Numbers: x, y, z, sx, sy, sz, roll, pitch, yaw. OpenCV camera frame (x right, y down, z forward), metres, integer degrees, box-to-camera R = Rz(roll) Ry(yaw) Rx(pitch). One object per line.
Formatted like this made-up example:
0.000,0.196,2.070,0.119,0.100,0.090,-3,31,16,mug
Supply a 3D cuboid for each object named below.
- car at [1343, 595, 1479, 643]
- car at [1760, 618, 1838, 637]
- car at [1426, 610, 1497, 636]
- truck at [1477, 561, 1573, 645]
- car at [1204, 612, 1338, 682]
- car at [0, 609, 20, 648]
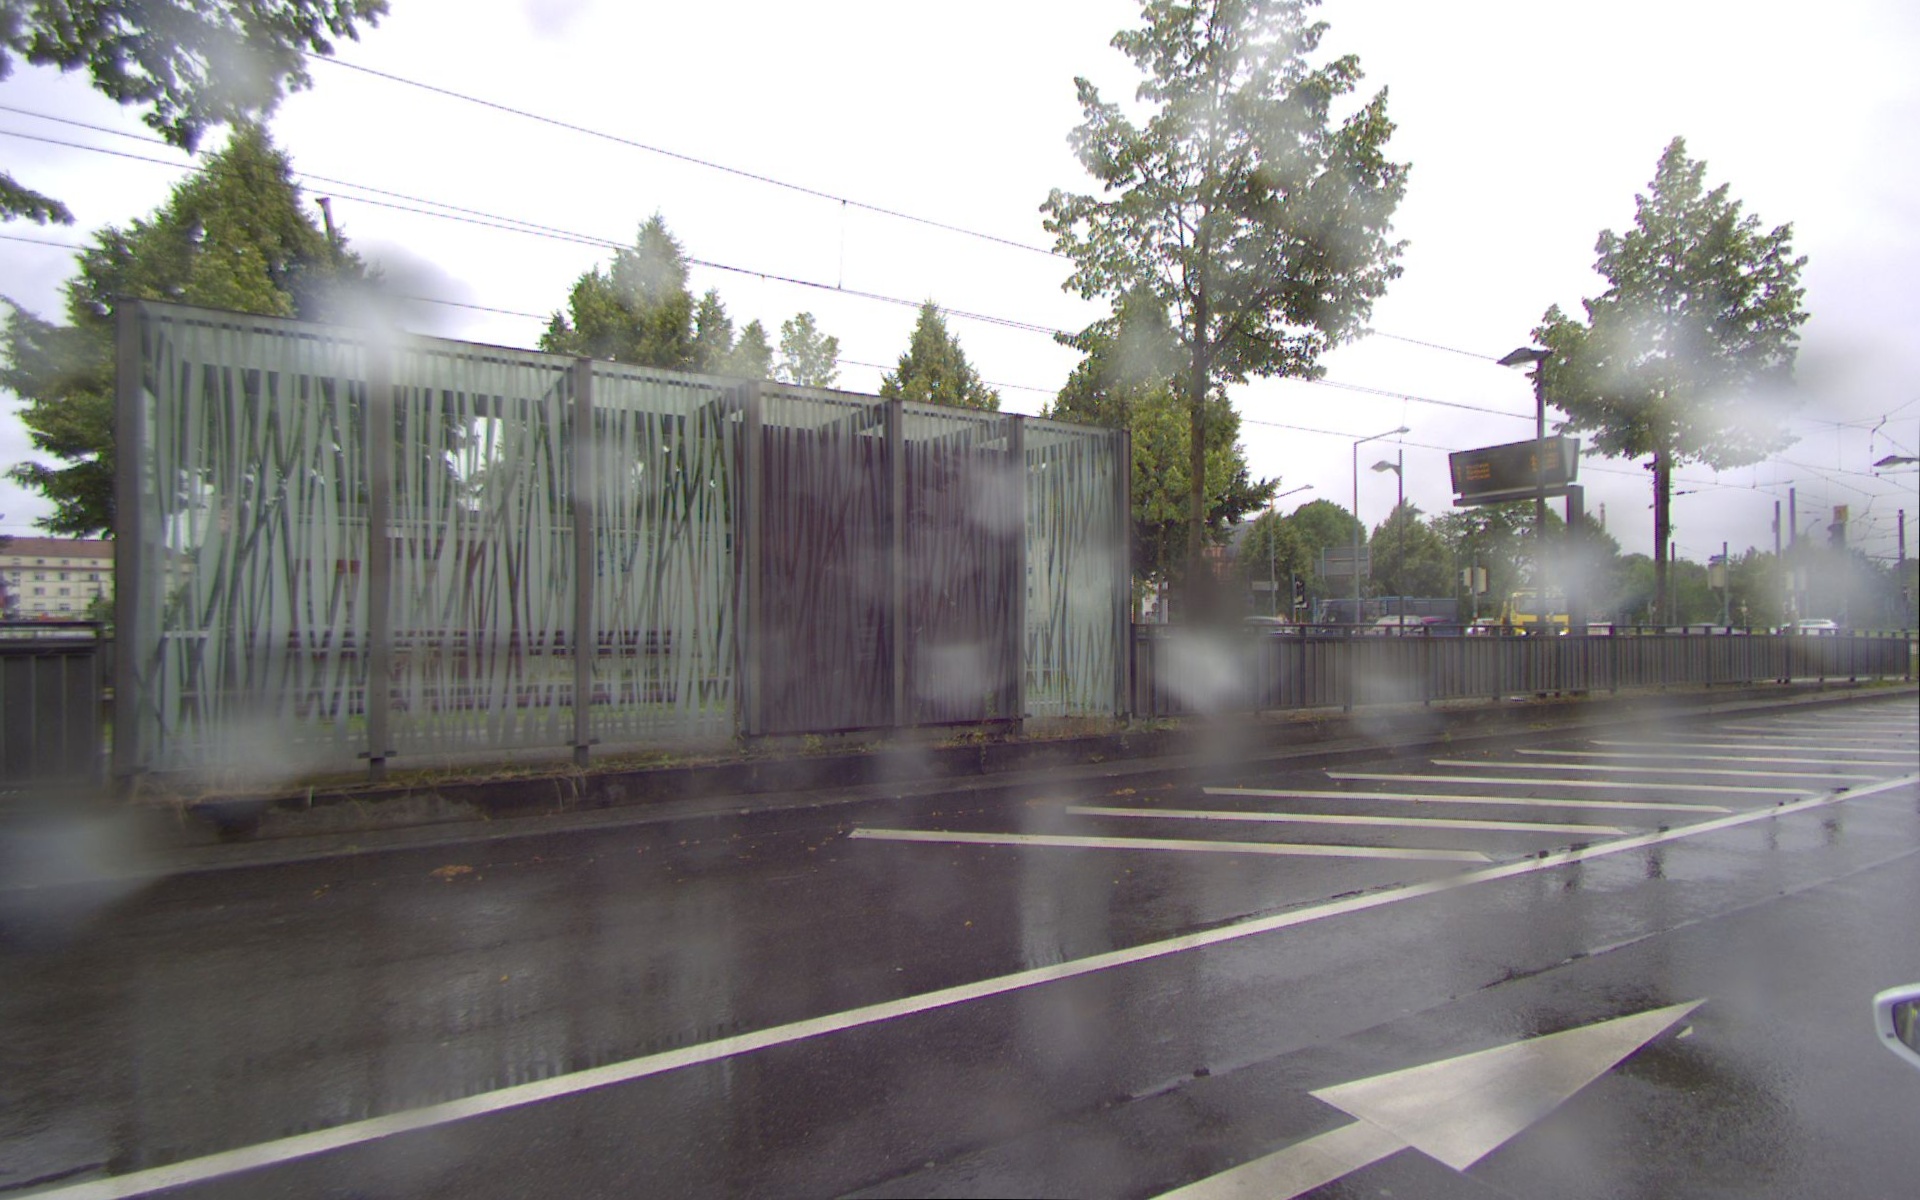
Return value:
37.813,1.634,84.337,10.759,3.769,2.455,1,-3,-8,car
66.858,2.151,80.130,4.542,1.473,1.620,-1,-1,31,car
33.111,1.528,66.393,1.964,1.649,4.396,0,-1,-10,car
28.539,0.126,51.168,2.642,3.828,9.182,2,0,20,truck
9.614,1.403,30.993,3.953,2.040,1.749,0,-1,-30,car
-54.945,1.549,54.579,5.368,2.079,1.980,1,1,-35,car
